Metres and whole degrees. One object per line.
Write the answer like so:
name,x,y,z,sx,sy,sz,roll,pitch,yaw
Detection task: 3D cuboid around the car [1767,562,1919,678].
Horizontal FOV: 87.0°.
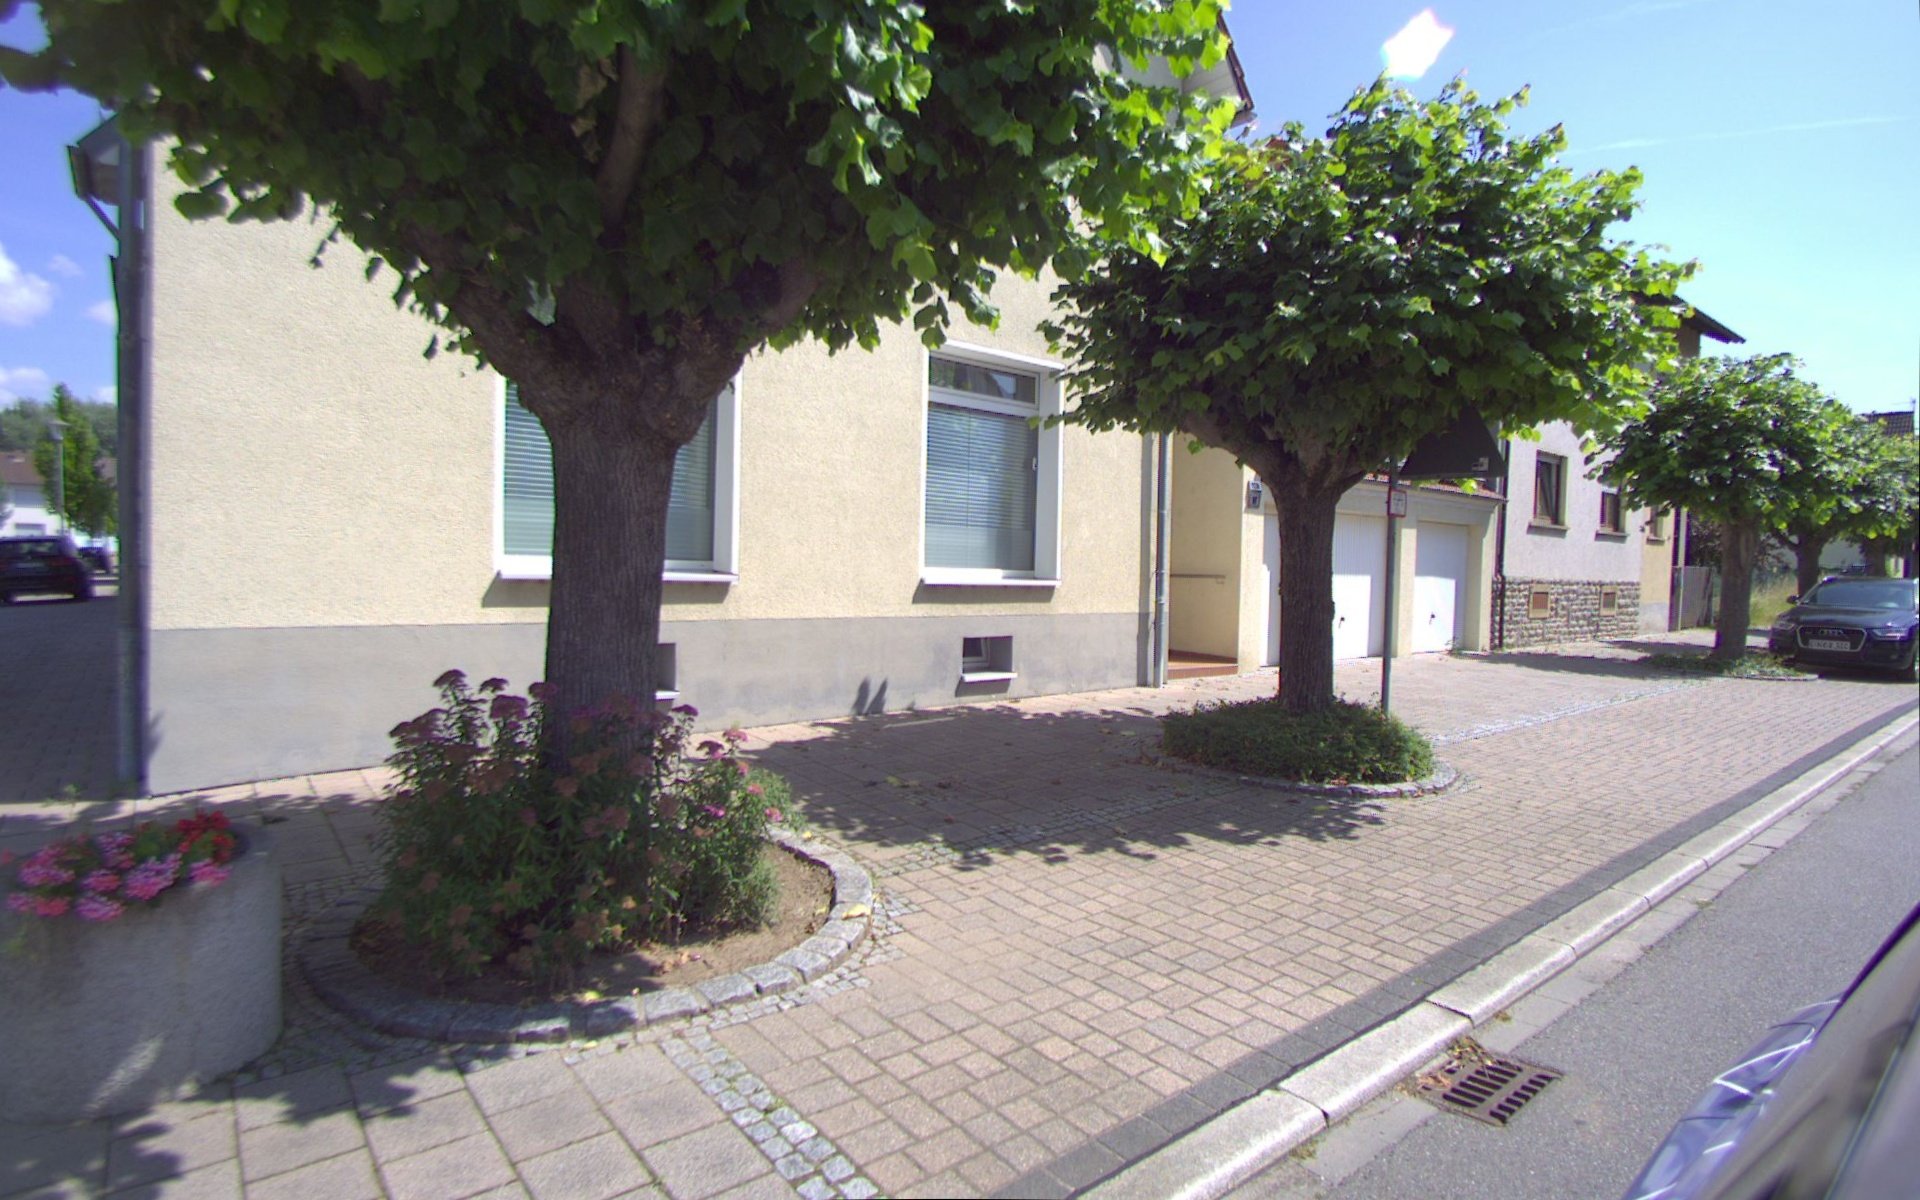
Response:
car,14.879,0.258,16.373,3.981,1.605,1.830,0,3,-36

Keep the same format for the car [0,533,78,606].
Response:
car,-23.974,-0.845,26.096,1.710,1.741,3.737,-3,5,-40

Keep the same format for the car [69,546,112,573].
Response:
car,-48.701,-2.294,56.728,1.710,1.430,3.737,-3,5,-40
